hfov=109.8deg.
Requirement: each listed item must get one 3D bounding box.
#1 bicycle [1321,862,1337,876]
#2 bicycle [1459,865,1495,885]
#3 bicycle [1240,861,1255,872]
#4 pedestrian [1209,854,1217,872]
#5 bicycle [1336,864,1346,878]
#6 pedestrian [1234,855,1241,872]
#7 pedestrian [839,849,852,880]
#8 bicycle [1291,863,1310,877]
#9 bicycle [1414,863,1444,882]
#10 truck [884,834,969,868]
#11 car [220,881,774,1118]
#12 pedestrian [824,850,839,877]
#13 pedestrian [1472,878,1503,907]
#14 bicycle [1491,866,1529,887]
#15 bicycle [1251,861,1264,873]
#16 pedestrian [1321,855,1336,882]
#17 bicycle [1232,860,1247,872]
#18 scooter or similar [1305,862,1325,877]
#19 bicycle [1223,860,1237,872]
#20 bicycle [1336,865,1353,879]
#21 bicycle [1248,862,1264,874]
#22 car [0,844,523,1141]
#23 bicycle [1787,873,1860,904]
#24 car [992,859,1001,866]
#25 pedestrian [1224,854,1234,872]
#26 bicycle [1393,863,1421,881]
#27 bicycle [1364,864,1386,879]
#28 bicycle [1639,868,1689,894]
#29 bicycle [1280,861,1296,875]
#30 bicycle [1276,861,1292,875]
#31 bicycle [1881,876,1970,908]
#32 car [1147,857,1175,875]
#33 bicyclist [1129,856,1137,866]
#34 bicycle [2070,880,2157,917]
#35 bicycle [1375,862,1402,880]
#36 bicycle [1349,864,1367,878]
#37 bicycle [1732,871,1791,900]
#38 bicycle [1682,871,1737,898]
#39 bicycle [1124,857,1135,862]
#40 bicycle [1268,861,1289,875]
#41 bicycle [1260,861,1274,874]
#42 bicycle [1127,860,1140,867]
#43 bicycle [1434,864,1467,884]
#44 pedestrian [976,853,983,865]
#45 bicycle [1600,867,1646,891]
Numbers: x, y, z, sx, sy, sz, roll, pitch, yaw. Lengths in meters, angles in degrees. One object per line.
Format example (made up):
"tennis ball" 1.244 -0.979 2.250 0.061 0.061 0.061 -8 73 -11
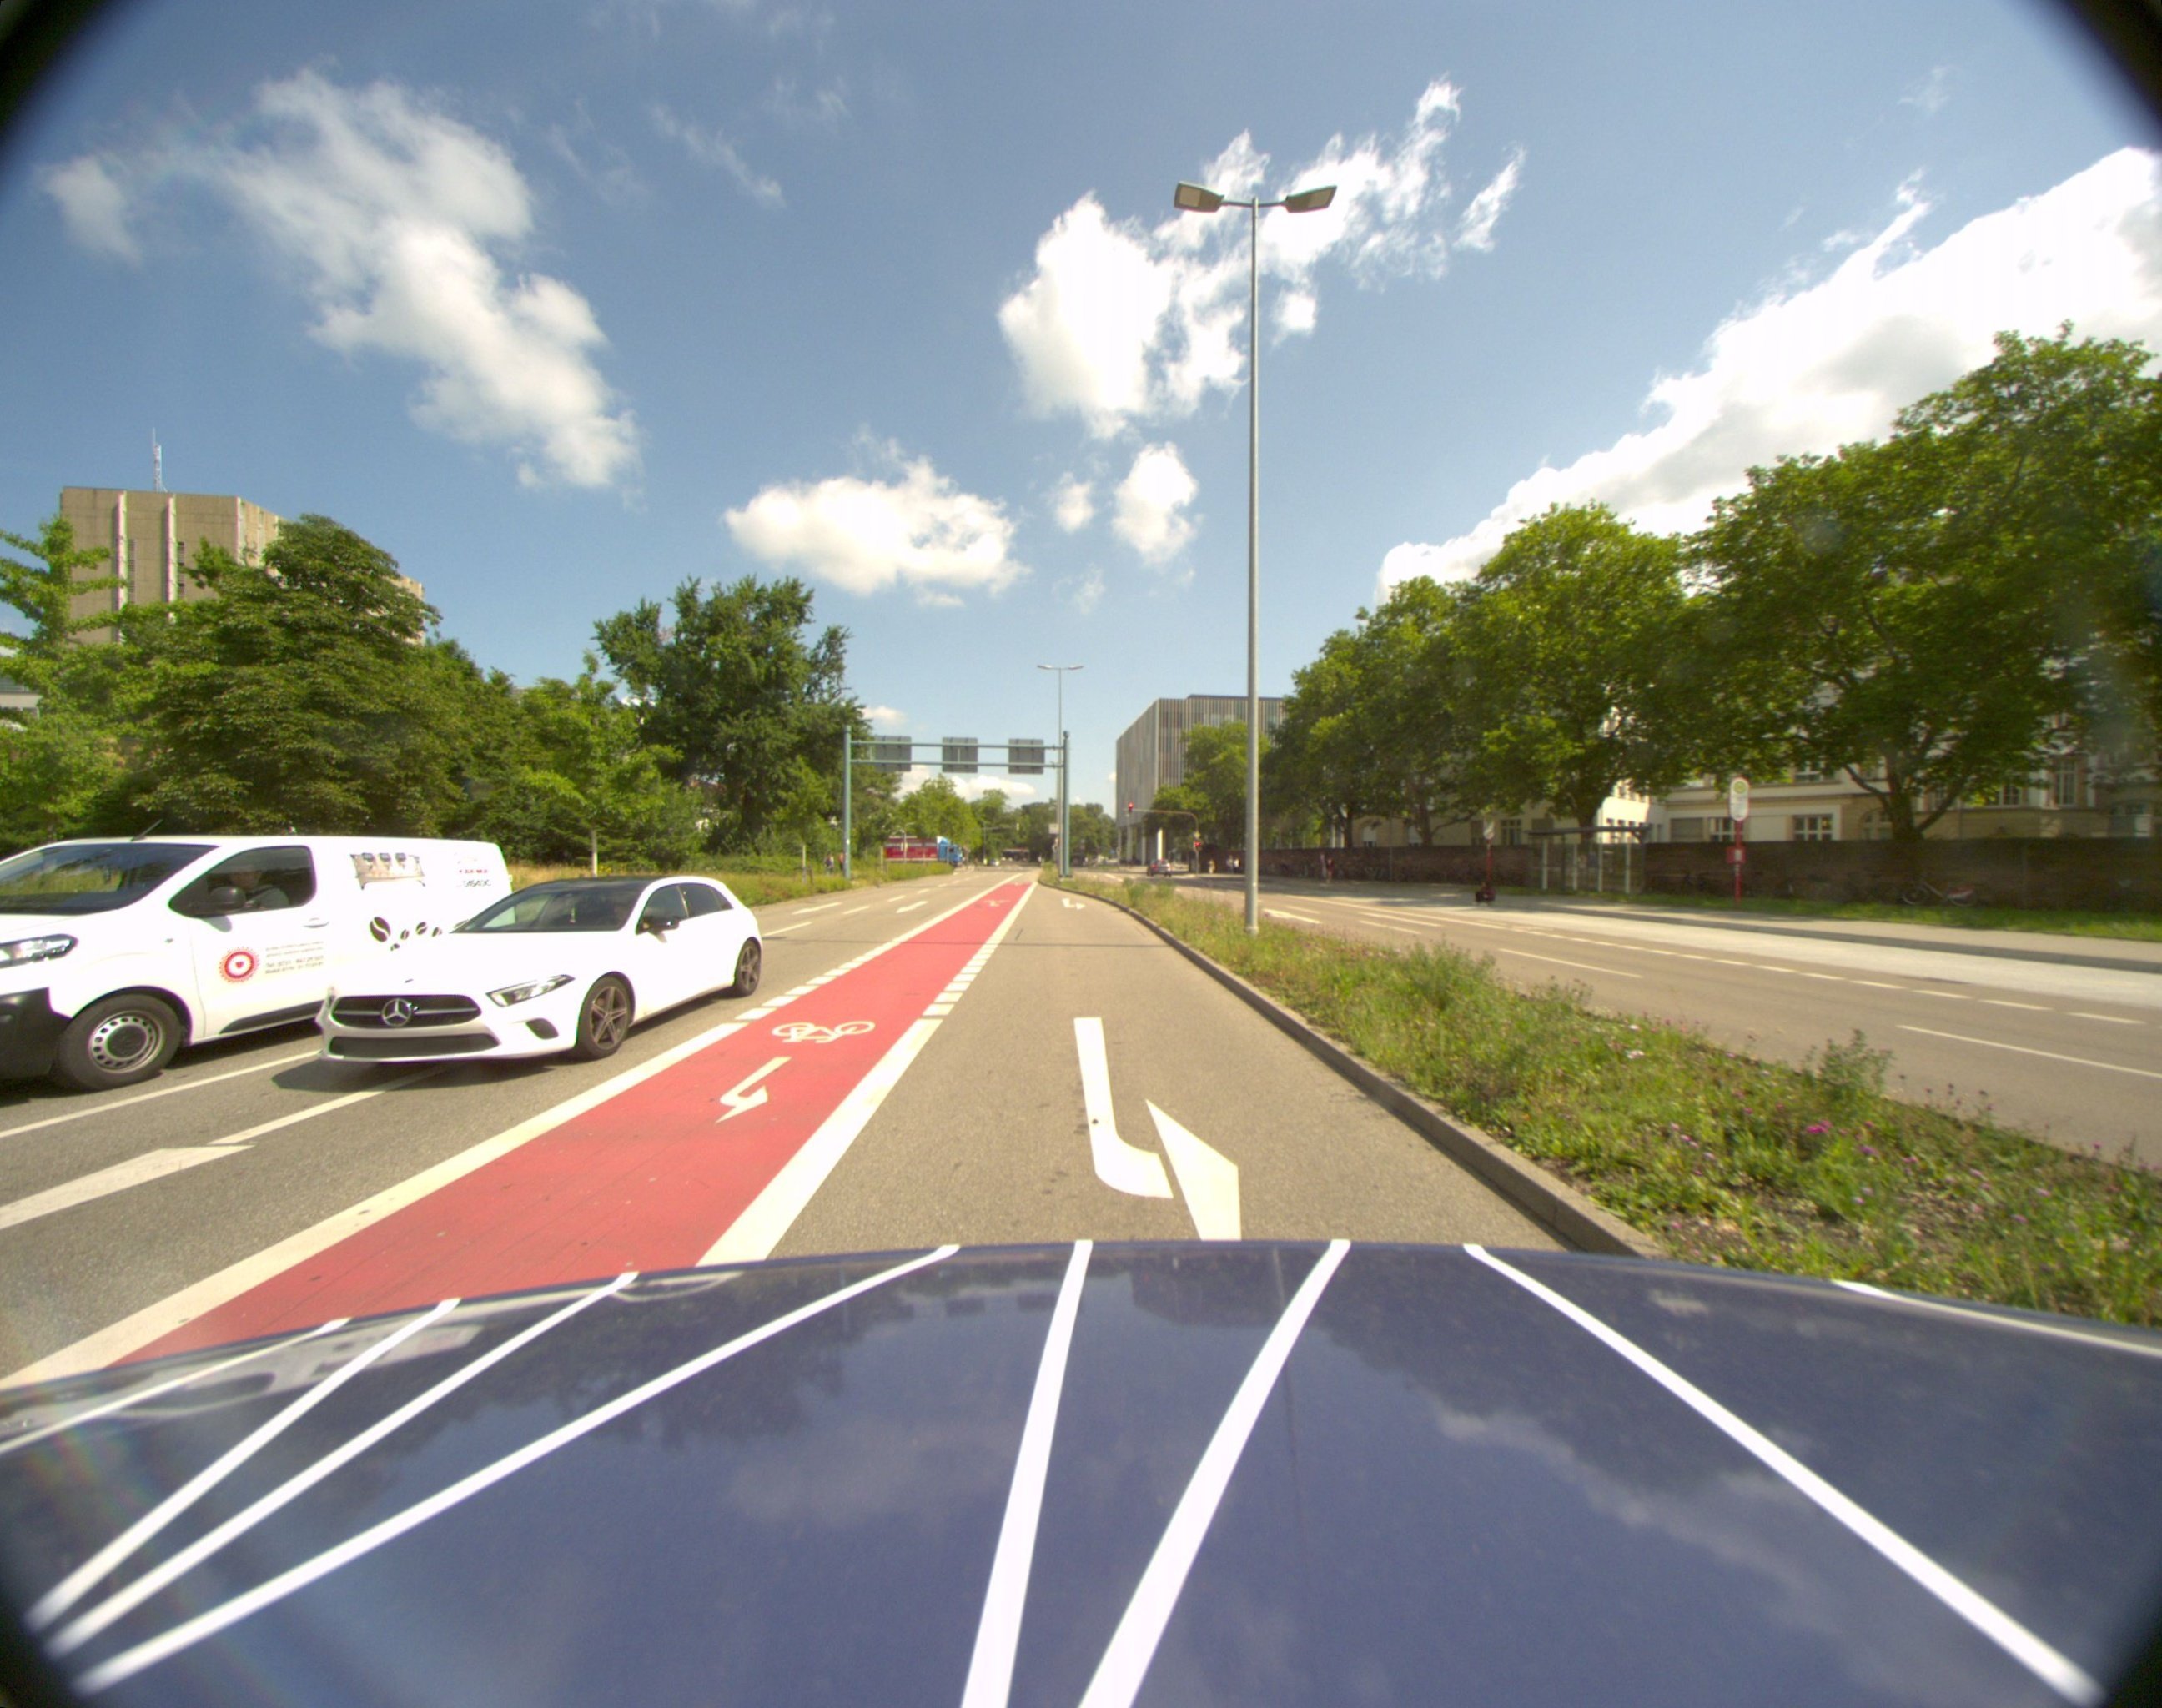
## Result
"bicycle" 17.993 1.072 55.092 0.368 0.949 1.400 0 0 -18
"bicycle" 21.616 1.141 41.506 0.585 1.067 1.752 0 0 -24
"bicycle" 15.051 1.119 68.773 0.566 1.042 1.879 0 0 -12
"pedestrian" 12.599 0.865 72.460 0.562 1.641 0.726 0 0 -8
"bicycle" 17.815 1.148 52.085 0.367 0.949 1.625 0 0 7
"pedestrian" 14.213 0.877 69.034 0.477 1.531 0.616 0 0 -8
"pedestrian" -13.488 0.596 43.599 0.568 1.791 0.638 0 0 -2
"bicycle" 16.993 1.194 58.794 0.582 1.042 1.879 0 0 -12
"bicycle" 20.558 1.065 44.930 0.584 1.067 1.753 0 0 -19
"truck" -17.438 -0.324 86.198 9.184 3.777 2.665 0 0 -1
"car" -4.721 1.037 7.195 1.909 1.415 4.384 0 0 -1
"pedestrian" -14.326 0.538 43.617 0.624 1.571 0.708 0 0 -2
"pedestrian" 14.402 1.357 26.924 0.696 0.957 0.743 0 0 -4
"bicycle" 22.351 1.172 39.607 0.585 1.067 1.752 0 0 -24
"bicycle" 15.468 1.152 66.581 0.371 1.042 1.879 0 0 -12
"pedestrian" 15.260 0.882 46.812 0.658 1.600 0.744 -1 1 -1
"bicycle" 14.716 1.132 70.690 0.632 1.042 1.879 0 0 -12
"scooter or similar" 17.516 1.157 56.864 0.582 1.042 1.879 0 0 -12
"bicycle" 14.253 1.137 72.856 0.632 1.042 1.879 0 0 -12
"bicycle" 18.366 1.225 52.926 0.368 0.949 1.400 0 0 -18
"bicycle" 14.988 1.199 65.038 0.594 1.042 1.879 0 0 -12
"car" -7.764 0.873 6.863 1.947 1.859 4.825 0 0 -1
"bicycle" 27.323 1.237 28.004 0.584 1.067 1.867 0 0 -19
"car" -16.256 1.647 145.950 1.709 1.321 3.997 3 0 -8
"pedestrian" 13.358 0.834 68.448 0.643 1.641 0.731 0 0 -8
"bicycle" 19.995 1.104 46.639 0.584 1.067 1.753 0 0 -18
"bicycle" 19.257 1.109 49.809 0.371 0.949 1.624 0 0 -18
"bicycle" 25.119 1.147 32.768 0.585 1.067 1.628 0 0 -24
"bicycle" 16.542 1.119 60.653 0.395 1.042 1.879 0 0 -12
"bicycle" 16.158 1.102 60.555 0.374 1.042 1.879 0 0 -12
"bicycle" 28.467 1.264 25.659 0.473 1.005 1.960 0 0 -23
"car" 6.795 1.041 64.878 1.705 1.436 4.144 1 0 -3
"bicyclist" 7.250 0.985 106.512 0.944 1.456 0.633 0 0 29
"bicycle" 30.266 1.291 22.297 0.473 1.005 1.453 0 0 -23
"bicycle" 19.519 1.074 48.302 0.584 1.067 1.753 0 0 -18
"bicycle" 18.777 1.143 51.527 0.368 0.949 1.400 0 0 -18
"bicycle" 26.537 1.219 29.663 0.585 1.067 1.628 0 0 -24
"bicycle" 25.806 1.229 31.223 0.585 1.067 1.628 0 0 -24
"bicycle" 10.193 1.230 159.830 2.218 1.090 0.722 0 0 -10
"bicycle" 16.205 1.144 62.479 0.594 1.042 1.877 0 0 -27
"bicycle" 15.800 1.164 64.557 0.371 1.042 1.879 0 0 -12
"bicycle" 7.325 1.307 106.473 1.771 0.887 0.639 0 0 29
"bicycle" 20.999 1.114 43.188 0.585 1.067 1.752 0 0 -24
"pedestrian" -14.133 0.742 105.807 0.742 1.640 0.639 0 0 2
"bicycle" 24.456 1.117 34.304 0.585 1.067 1.628 0 0 -24
